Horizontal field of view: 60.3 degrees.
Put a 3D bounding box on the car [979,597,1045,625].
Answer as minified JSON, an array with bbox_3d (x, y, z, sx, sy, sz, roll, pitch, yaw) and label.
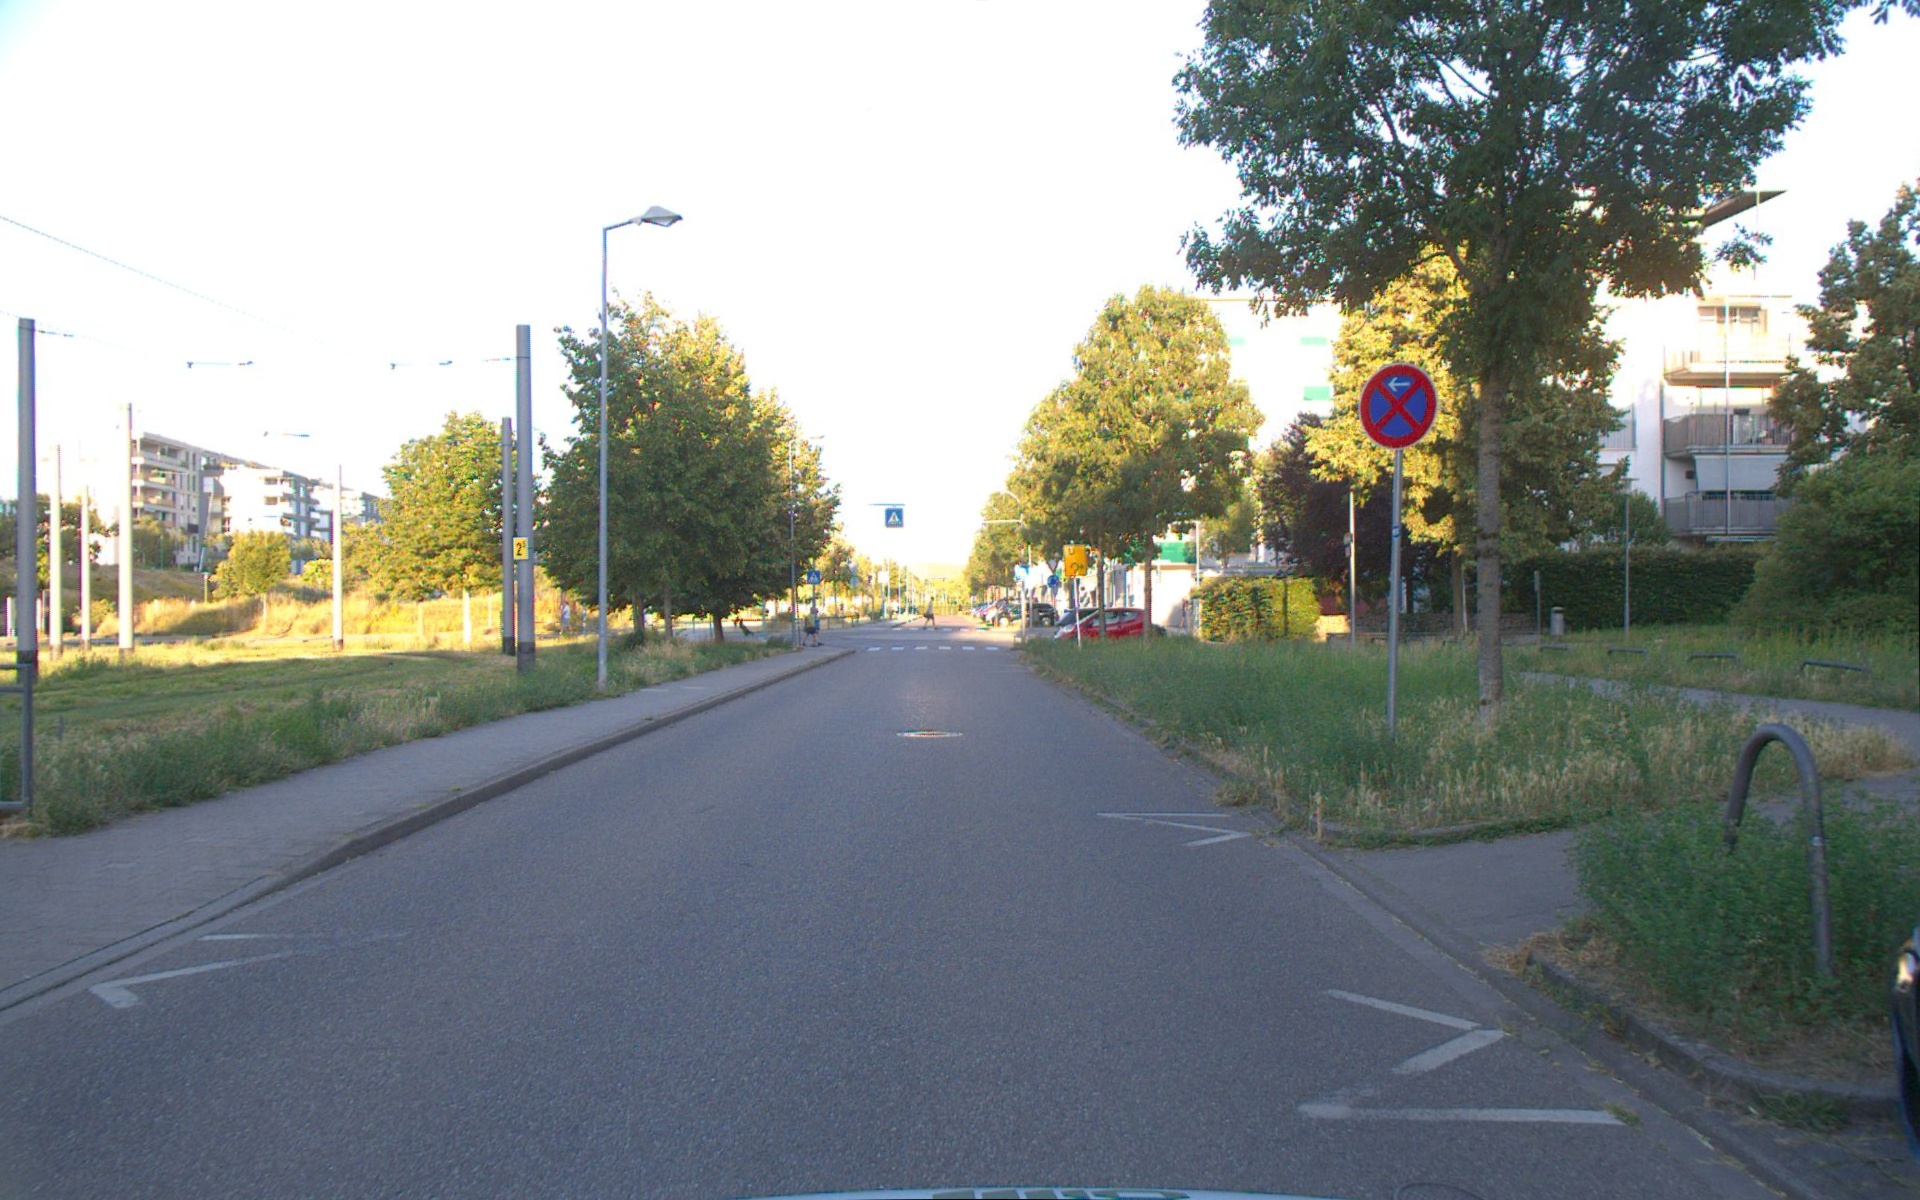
[{"bbox_3d":[4.011,0.877,128.071,4.905,2.081,2.248,-1,0,-5],"label":"car"}]

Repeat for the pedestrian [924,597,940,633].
[{"bbox_3d":[-1.619,0.881,96.995,0.828,2.049,0.944,-1,-1,5],"label":"pedestrian"}]

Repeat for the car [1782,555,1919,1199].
[{"bbox_3d":[4.447,0.666,3.464,4.575,1.584,1.810,-1,0,-2],"label":"car"}]

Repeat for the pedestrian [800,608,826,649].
[{"bbox_3d":[-6.245,1.194,70.239,1.000,1.723,0.757,-1,-1,-12],"label":"pedestrian"}]

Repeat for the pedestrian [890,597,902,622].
[{"bbox_3d":[-5.382,0.780,138.837,0.851,2.049,0.787,-1,-1,-11],"label":"pedestrian"}]

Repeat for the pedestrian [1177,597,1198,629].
[{"bbox_3d":[12.825,0.740,93.176,0.984,1.819,0.761,1,-1,-7],"label":"pedestrian"}]

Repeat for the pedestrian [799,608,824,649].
[{"bbox_3d":[-6.382,1.224,71.034,0.966,1.723,0.698,-1,-1,-12],"label":"pedestrian"}]

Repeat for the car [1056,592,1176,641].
[{"bbox_3d":[5.109,0.522,54.473,3.726,1.535,1.678,-1,0,-3],"label":"car"}]

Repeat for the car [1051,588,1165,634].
[{"bbox_3d":[5.084,0.371,57.230,3.726,1.535,1.678,-1,0,-3],"label":"car"}]

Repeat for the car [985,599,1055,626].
[{"bbox_3d":[3.807,0.811,104.893,4.392,1.624,2.000,-1,0,0],"label":"car"}]
